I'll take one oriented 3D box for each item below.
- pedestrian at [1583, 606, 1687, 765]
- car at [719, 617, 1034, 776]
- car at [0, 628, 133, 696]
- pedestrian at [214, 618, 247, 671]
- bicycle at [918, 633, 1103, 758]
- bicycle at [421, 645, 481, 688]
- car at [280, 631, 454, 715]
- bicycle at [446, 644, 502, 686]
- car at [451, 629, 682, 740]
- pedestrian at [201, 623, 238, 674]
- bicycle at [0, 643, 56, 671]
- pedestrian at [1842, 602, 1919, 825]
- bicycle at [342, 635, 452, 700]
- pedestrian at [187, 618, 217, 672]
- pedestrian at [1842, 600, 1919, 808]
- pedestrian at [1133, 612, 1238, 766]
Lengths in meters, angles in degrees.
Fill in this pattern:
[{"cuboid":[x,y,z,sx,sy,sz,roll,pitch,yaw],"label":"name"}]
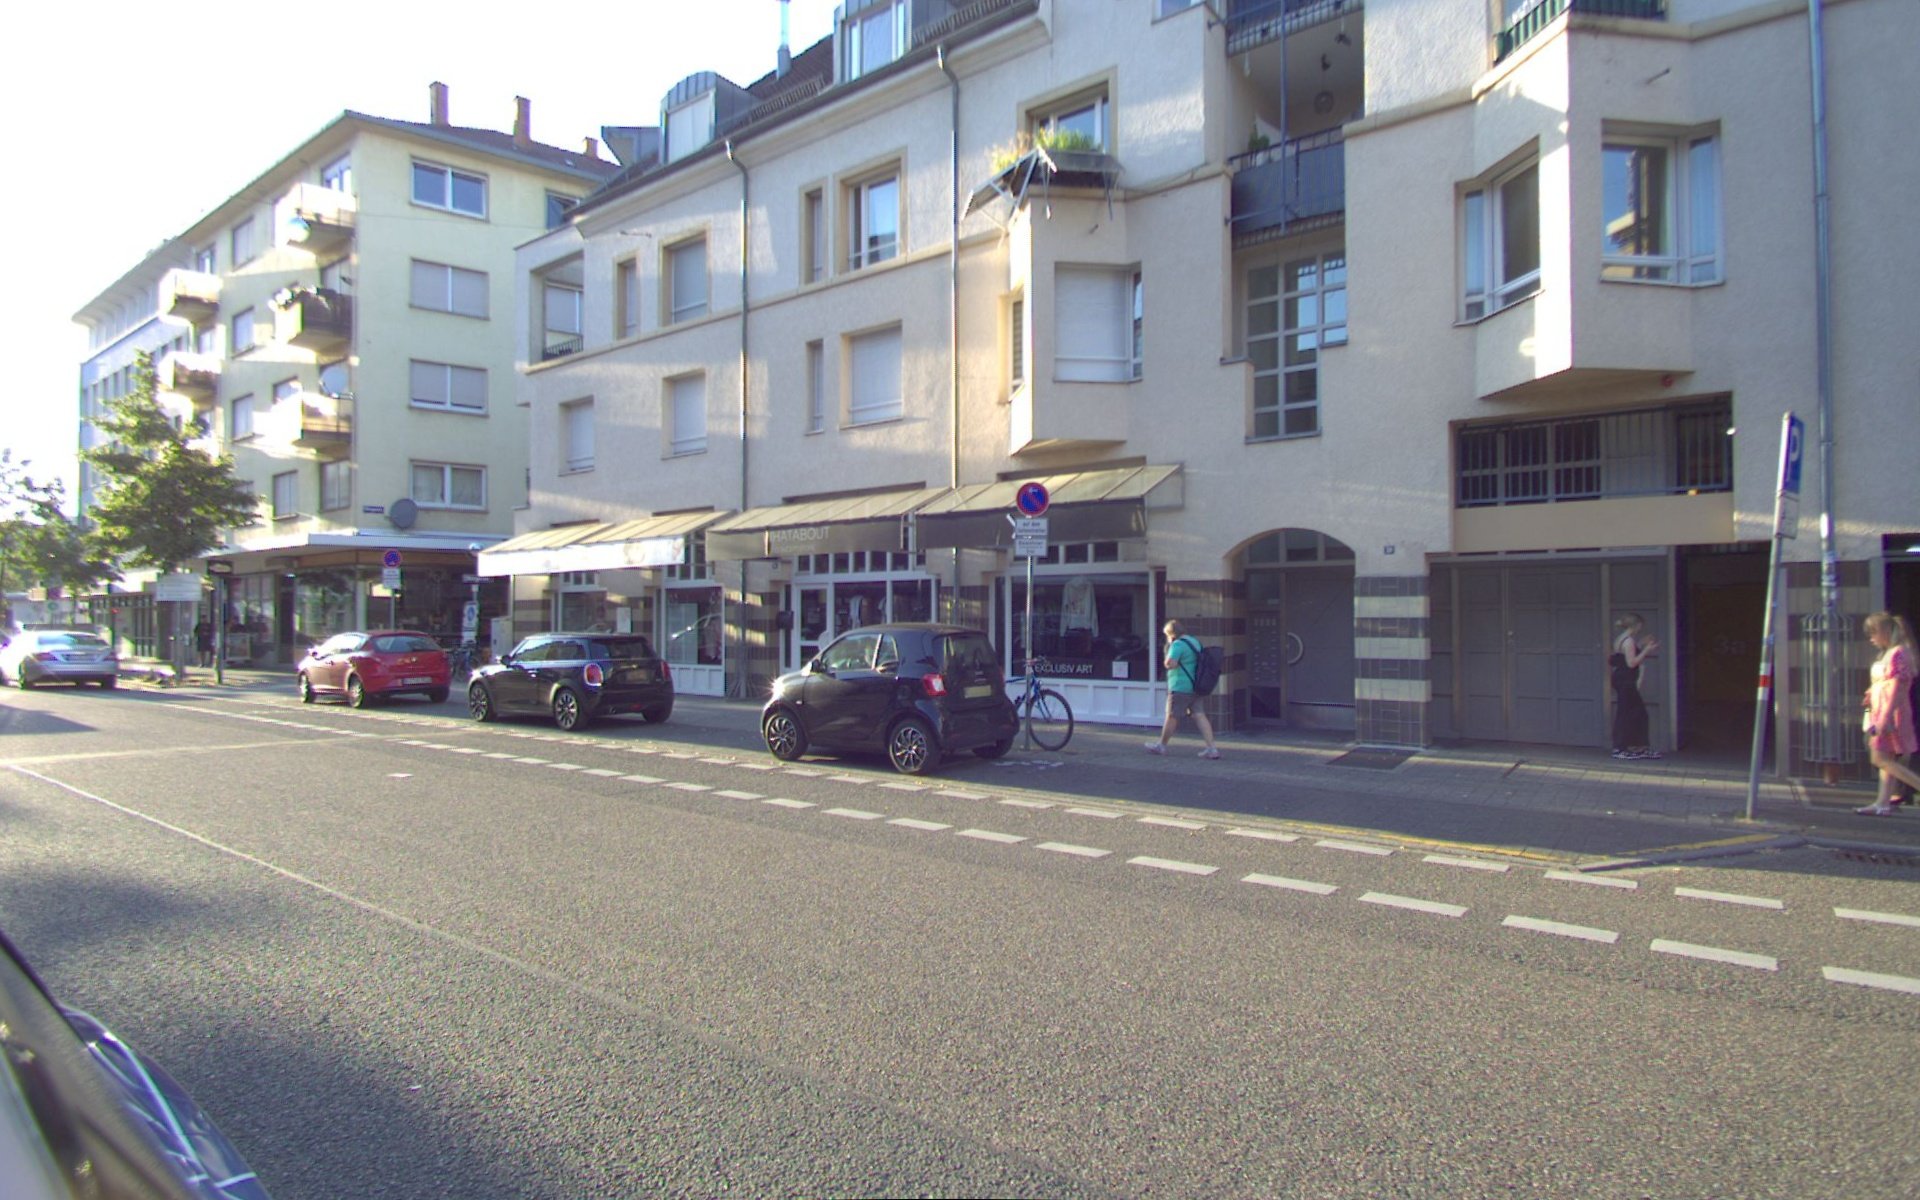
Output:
[{"cuboid":[7.325,0.885,10.984,0.854,1.628,0.709,-1,0,40],"label":"pedestrian"},{"cuboid":[-0.983,0.986,11.516,3.182,1.547,1.776,-1,-2,35],"label":"car"},{"cuboid":[-22.639,1.519,25.341,4.503,1.523,1.974,-1,-4,38],"label":"car"},{"cuboid":[-25.478,1.552,35.331,0.813,1.833,0.733,-3,-3,40],"label":"pedestrian"},{"cuboid":[0.582,1.121,12.506,2.355,1.385,0.605,-1,0,37],"label":"bicycle"},{"cuboid":[-12.945,1.670,25.731,2.012,0.999,0.485,-1,0,36],"label":"bicycle"},{"cuboid":[-11.801,1.372,20.064,3.877,1.413,1.645,-1,0,37],"label":"car"},{"cuboid":[-12.569,1.663,26.130,2.014,0.999,0.485,-1,0,39],"label":"bicycle"},{"cuboid":[-6.195,1.219,15.796,3.720,1.464,1.695,-1,0,38],"label":"car"},{"cuboid":[-24.877,1.614,34.017,0.757,1.689,0.744,0,-1,-10],"label":"pedestrian"},{"cuboid":[-36.977,2.258,39.871,0.490,0.999,1.993,-1,0,33],"label":"bicycle"},{"cuboid":[7.376,0.847,7.793,0.855,1.654,0.709,-1,0,42],"label":"pedestrian"},{"cuboid":[-12.776,1.489,22.907,3.121,1.310,0.950,-1,0,36],"label":"bicycle"},{"cuboid":[-26.771,1.583,35.740,0.758,1.862,0.744,1,-3,-43],"label":"pedestrian"},{"cuboid":[7.878,0.830,8.373,0.855,1.654,0.709,-1,0,42],"label":"pedestrian"},{"cuboid":[2.556,0.970,11.479,0.949,1.654,0.710,-1,0,35],"label":"pedestrian"}]
